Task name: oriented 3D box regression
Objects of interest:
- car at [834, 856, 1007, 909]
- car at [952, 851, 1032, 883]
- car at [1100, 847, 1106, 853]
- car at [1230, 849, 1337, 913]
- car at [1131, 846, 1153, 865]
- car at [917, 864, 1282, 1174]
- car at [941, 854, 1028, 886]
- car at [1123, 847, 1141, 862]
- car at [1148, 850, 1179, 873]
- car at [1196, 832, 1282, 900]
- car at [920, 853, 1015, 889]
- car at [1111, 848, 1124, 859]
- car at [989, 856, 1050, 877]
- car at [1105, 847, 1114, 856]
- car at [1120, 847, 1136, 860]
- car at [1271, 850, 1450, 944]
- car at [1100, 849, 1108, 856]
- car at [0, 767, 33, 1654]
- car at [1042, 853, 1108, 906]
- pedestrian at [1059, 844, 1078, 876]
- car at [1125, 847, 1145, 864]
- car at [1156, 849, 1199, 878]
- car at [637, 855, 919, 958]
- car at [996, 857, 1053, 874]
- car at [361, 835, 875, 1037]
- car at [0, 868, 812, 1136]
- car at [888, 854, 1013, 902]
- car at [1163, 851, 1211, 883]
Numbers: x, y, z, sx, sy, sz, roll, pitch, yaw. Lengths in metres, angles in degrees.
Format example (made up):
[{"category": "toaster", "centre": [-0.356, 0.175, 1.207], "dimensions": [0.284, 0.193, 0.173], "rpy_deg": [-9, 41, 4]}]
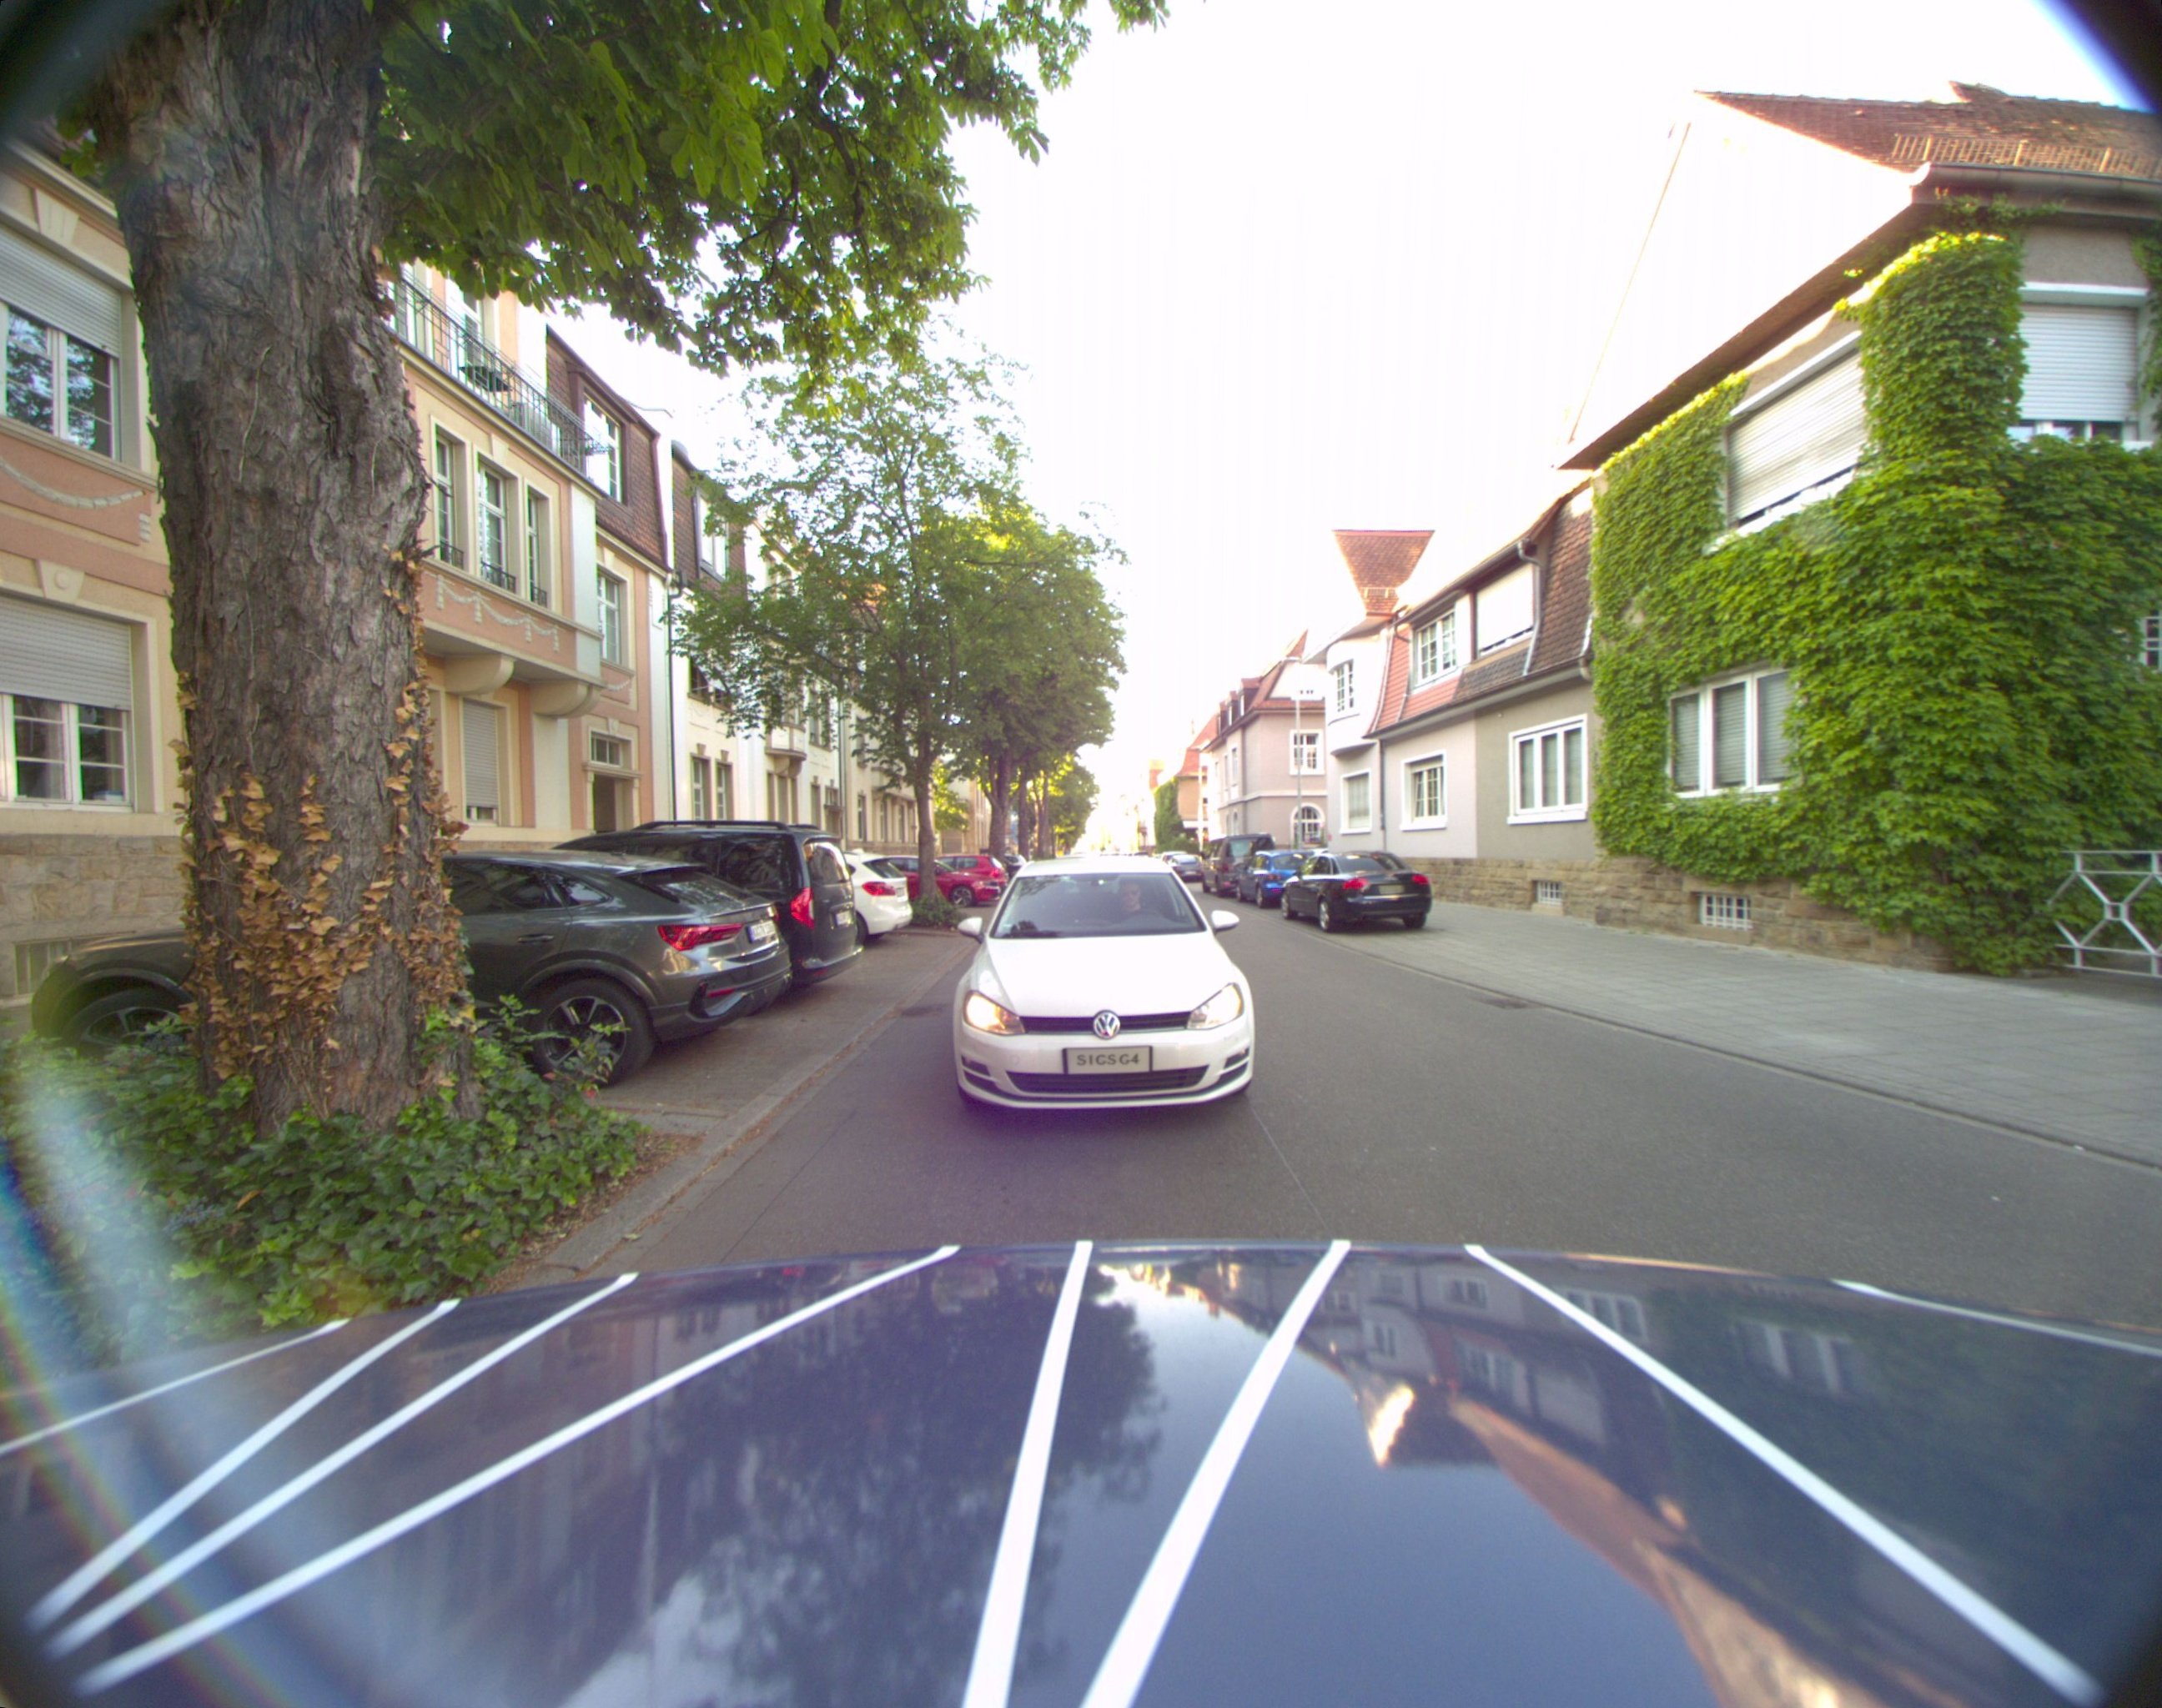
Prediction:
[{"category": "car", "centre": [-4.536, 0.791, 21.942], "dimensions": [4.530, 1.443, 1.867], "rpy_deg": [0, 1, 3]}, {"category": "car", "centre": [-4.283, 0.613, 36.843], "dimensions": [3.680, 1.548, 1.576], "rpy_deg": [0, 1, 2]}, {"category": "car", "centre": [5.842, -1.000, 202.672], "dimensions": [1.699, 1.520, 3.677], "rpy_deg": [-3, 1, 2]}, {"category": "car", "centre": [5.279, 0.638, 20.346], "dimensions": [1.768, 1.438, 4.062], "rpy_deg": [-3, 1, 0]}, {"category": "car", "centre": [5.419, 0.136, 68.010], "dimensions": [1.699, 1.558, 3.677], "rpy_deg": [-3, 1, 2]}, {"category": "car", "centre": [0.133, 0.877, 5.927], "dimensions": [1.819, 1.454, 4.072], "rpy_deg": [-2, 0, 1]}, {"category": "car", "centre": [-4.316, 0.704, 34.329], "dimensions": [3.680, 1.390, 1.576], "rpy_deg": [0, 1, 2]}, {"category": "car", "centre": [5.434, 0.043, 80.766], "dimensions": [1.699, 1.520, 3.677], "rpy_deg": [-3, 1, 2]}, {"category": "car", "centre": [5.437, 0.460, 50.387], "dimensions": [1.662, 1.354, 3.677], "rpy_deg": [-3, 1, 2]}, {"category": "car", "centre": [5.143, 0.346, 25.357], "dimensions": [1.842, 1.964, 4.612], "rpy_deg": [-3, 1, 0]}, {"category": "car", "centre": [-4.680, 0.701, 31.713], "dimensions": [3.680, 1.458, 1.576], "rpy_deg": [0, 1, 2]}, {"category": "car", "centre": [5.548, -0.144, 115.866], "dimensions": [1.699, 1.520, 3.677], "rpy_deg": [-3, 1, 2]}, {"category": "car", "centre": [-3.567, 0.718, 44.440], "dimensions": [3.399, 1.143, 1.542], "rpy_deg": [0, 1, 2]}, {"category": "car", "centre": [5.570, -0.503, 149.123], "dimensions": [1.699, 1.520, 3.677], "rpy_deg": [-3, 1, 2]}, {"category": "car", "centre": [5.561, -0.066, 91.012], "dimensions": [1.699, 1.520, 3.677], "rpy_deg": [-3, 1, 2]}, {"category": "car", "centre": [5.141, 0.691, 14.683], "dimensions": [1.806, 1.438, 4.428], "rpy_deg": [-3, 1, 0]}, {"category": "car", "centre": [5.282, -0.300, 173.293], "dimensions": [1.699, 1.520, 3.677], "rpy_deg": [-3, 1, 2]}, {"category": "car", "centre": [-4.595, 0.765, 0.525], "dimensions": [4.763, 1.864, 1.896], "rpy_deg": [0, 1, -4]}, {"category": "car", "centre": [-0.134, 0.731, 23.709], "dimensions": [1.819, 1.454, 4.072], "rpy_deg": [-2, 0, 1]}, {"category": "pedestrian", "centre": [-0.763, 0.397, 47.464], "dimensions": [1.119, 1.927, 1.097], "rpy_deg": [-3, 1, -1]}, {"category": "car", "centre": [5.332, 0.102, 75.275], "dimensions": [1.699, 1.520, 3.677], "rpy_deg": [-3, 1, 2]}, {"category": "car", "centre": [5.281, 0.494, 42.147], "dimensions": [1.932, 1.458, 4.062], "rpy_deg": [-3, 1, 2]}, {"category": "car", "centre": [-4.832, 0.810, 12.535], "dimensions": [3.950, 1.568, 1.719], "rpy_deg": [0, 1, 0]}, {"category": "car", "centre": [-3.518, 0.711, 47.645], "dimensions": [3.399, 1.057, 1.542], "rpy_deg": [0, 1, 2]}, {"category": "car", "centre": [-4.438, 0.732, 7.835], "dimensions": [4.121, 1.827, 1.844], "rpy_deg": [0, 1, -2]}, {"category": "car", "centre": [-4.540, 0.894, 5.511], "dimensions": [4.522, 1.514, 1.844], "rpy_deg": [0, 1, -4]}, {"category": "car", "centre": [-4.141, 0.743, 24.469], "dimensions": [3.680, 1.473, 1.659], "rpy_deg": [0, 1, 3]}, {"category": "car", "centre": [5.059, 0.585, 36.671], "dimensions": [1.932, 1.376, 4.063], "rpy_deg": [-3, 1, 4]}]
